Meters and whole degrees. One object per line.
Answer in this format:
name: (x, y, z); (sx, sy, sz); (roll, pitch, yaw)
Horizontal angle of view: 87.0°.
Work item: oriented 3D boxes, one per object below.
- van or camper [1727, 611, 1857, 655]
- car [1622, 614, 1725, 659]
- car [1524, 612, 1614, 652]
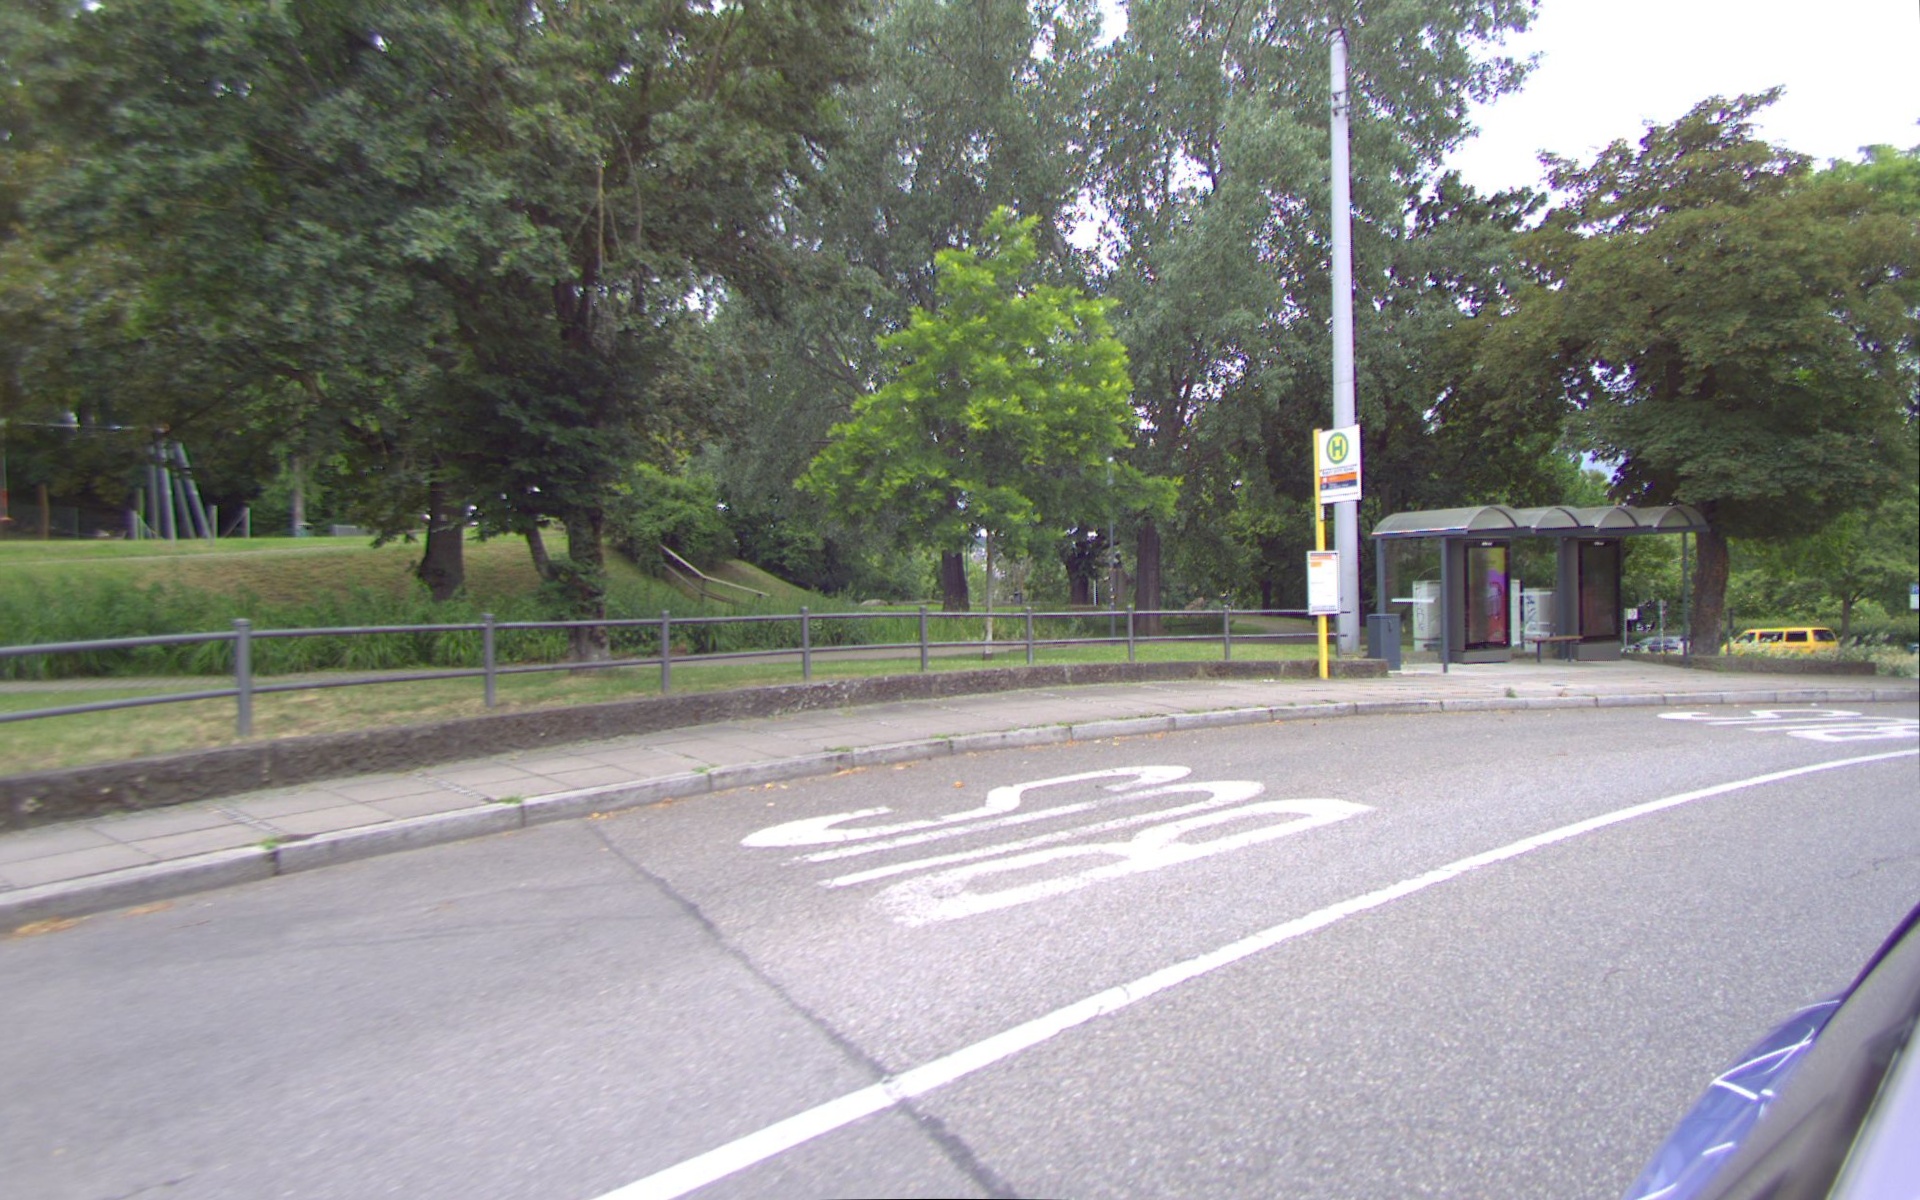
van or camper: (39.570, 1.563, 48.298); (1.850, 2.003, 4.479); (0, -1, -16)
car: (37.768, 1.903, 53.708); (1.958, 2.038, 4.010); (2, 1, -18)
car: (35.496, 1.845, 59.057); (1.960, 2.038, 4.006); (2, 1, -30)
